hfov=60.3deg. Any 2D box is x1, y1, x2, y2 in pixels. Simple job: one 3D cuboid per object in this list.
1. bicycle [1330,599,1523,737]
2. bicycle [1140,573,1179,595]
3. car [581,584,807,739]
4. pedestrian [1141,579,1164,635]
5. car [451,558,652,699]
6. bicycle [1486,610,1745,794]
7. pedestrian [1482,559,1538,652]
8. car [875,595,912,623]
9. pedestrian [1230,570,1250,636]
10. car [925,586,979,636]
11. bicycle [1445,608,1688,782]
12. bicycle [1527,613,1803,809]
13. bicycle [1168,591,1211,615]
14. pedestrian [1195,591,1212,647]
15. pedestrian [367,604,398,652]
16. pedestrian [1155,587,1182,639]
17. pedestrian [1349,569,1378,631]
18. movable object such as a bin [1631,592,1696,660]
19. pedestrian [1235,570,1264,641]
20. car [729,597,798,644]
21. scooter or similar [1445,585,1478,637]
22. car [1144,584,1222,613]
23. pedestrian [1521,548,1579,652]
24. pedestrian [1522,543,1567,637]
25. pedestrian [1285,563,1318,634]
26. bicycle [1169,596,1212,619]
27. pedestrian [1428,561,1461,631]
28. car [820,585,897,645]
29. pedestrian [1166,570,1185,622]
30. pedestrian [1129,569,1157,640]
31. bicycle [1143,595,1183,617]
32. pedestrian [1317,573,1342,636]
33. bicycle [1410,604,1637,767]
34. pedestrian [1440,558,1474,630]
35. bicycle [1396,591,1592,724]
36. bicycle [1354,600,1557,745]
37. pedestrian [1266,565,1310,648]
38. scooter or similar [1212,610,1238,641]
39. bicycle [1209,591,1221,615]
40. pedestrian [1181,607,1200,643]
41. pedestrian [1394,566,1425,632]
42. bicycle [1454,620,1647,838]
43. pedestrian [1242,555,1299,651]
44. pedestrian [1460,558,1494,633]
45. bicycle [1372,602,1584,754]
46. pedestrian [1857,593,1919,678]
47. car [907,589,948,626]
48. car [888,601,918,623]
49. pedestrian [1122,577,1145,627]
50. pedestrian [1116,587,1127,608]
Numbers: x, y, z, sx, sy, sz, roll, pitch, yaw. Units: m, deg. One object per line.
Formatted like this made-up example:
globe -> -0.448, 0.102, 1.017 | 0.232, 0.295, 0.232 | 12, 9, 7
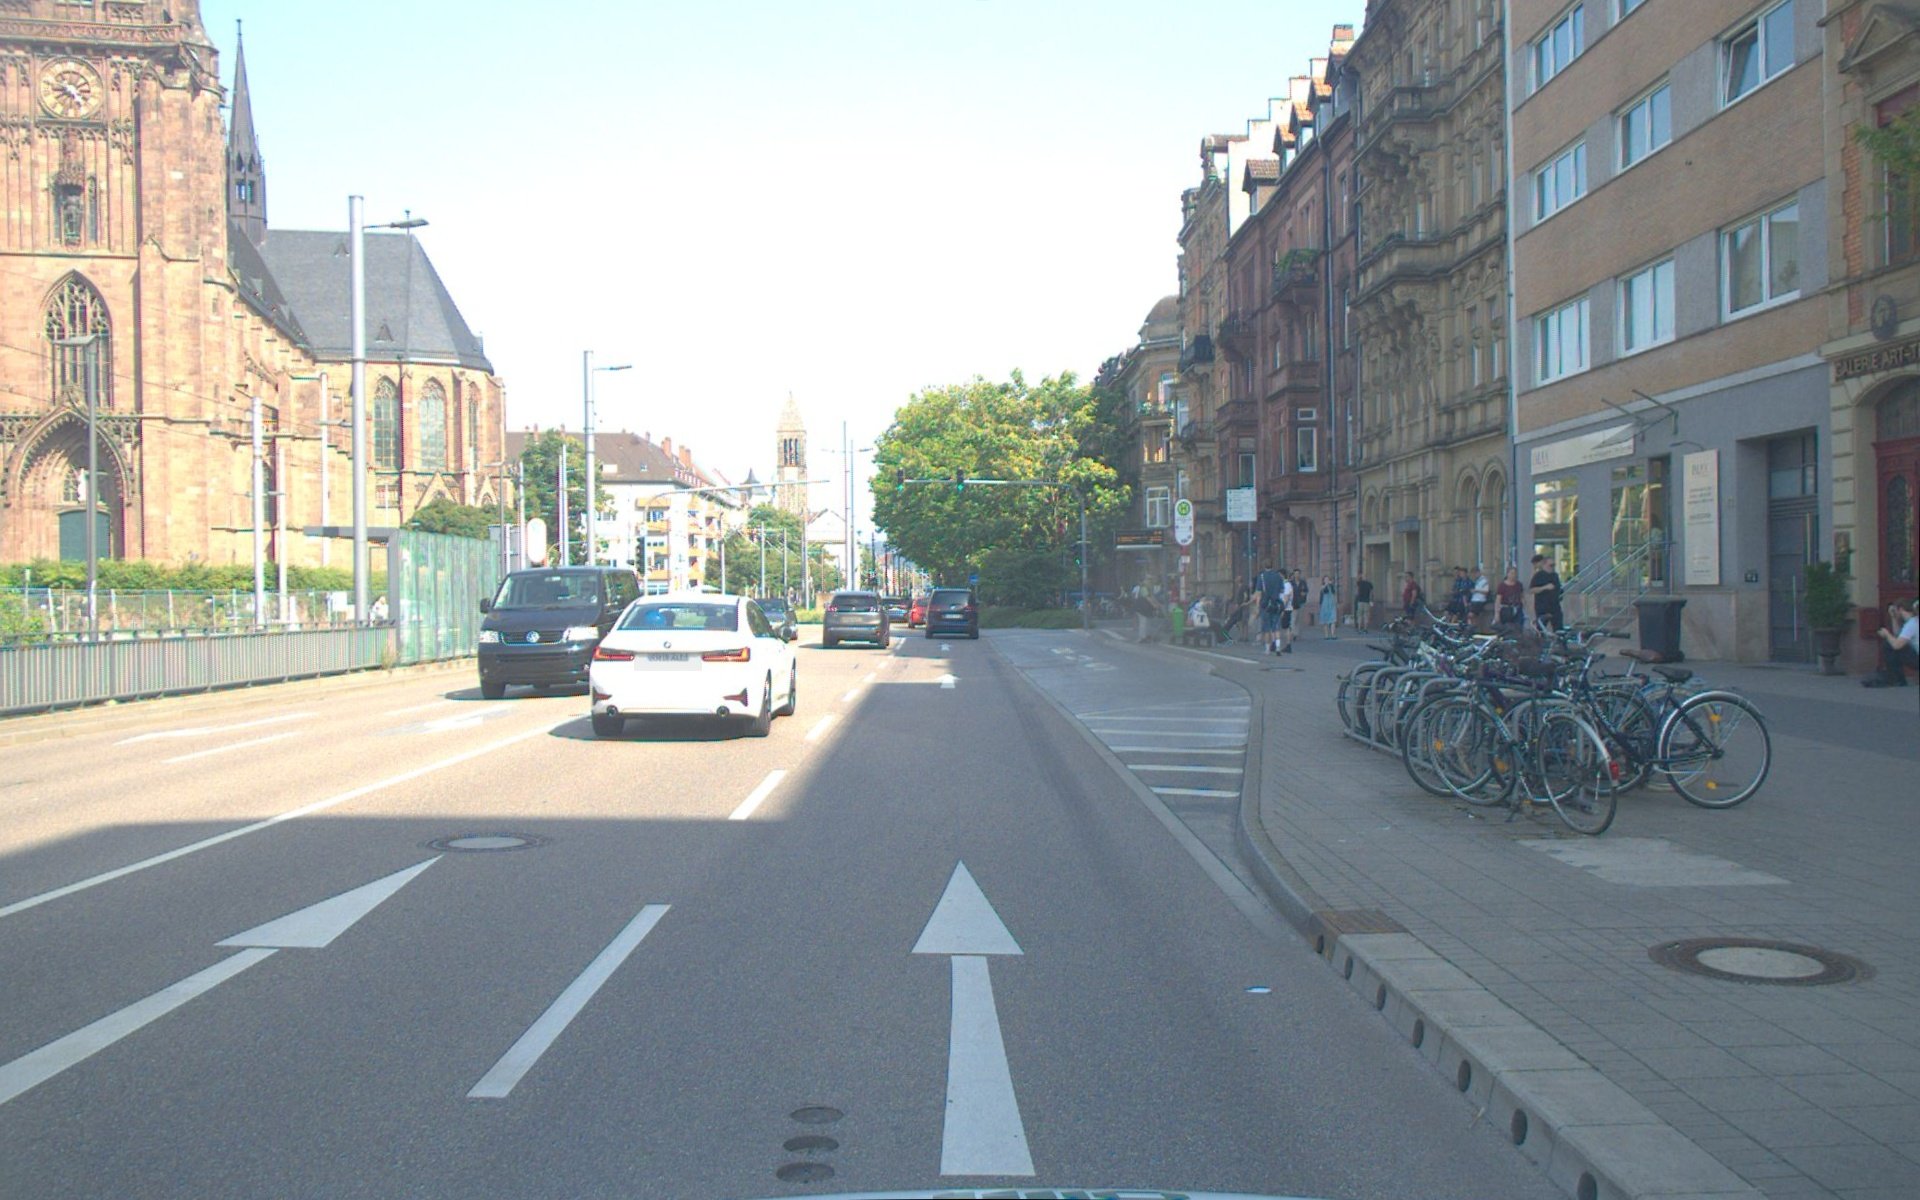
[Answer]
bicycle -> 4.140, 0.595, 14.694 | 1.601, 1.168, 0.385 | -1, 0, -6
bicycle -> 10.115, -0.809, 83.731 | 1.891, 1.066, 0.526 | -1, 0, -6
car -> -2.785, 0.575, 18.351 | 1.772, 1.452, 4.774 | 1, 1, -1
pedestrian -> 5.756, 0.210, 49.458 | 0.517, 1.640, 0.702 | -1, 0, -4
car -> -6.262, 0.391, 25.947 | 1.953, 1.937, 4.715 | -2, 0, -1
bicycle -> 4.405, 0.674, 11.135 | 1.601, 1.168, 0.385 | -1, 0, -6
pedestrian -> 9.836, 0.098, 29.606 | 0.705, 1.638, 0.856 | -1, 0, 0
car -> -3.602, 0.483, 90.251 | 1.826, 1.449, 4.357 | 0, 0, 0
pedestrian -> 7.623, 0.083, 45.063 | 0.334, 1.763, 0.805 | -1, 0, -4
car -> -0.286, 0.352, 57.583 | 1.794, 1.649, 4.357 | 0, 0, 0
bicycle -> 4.319, 0.662, 11.796 | 1.601, 1.168, 0.385 | -1, 0, -6
bicycle -> 4.456, 0.687, 10.471 | 1.601, 1.168, 0.385 | -1, 0, -6
bicycle -> 10.620, 0.122, 76.414 | 1.891, 1.066, 0.499 | -1, 0, -6
pedestrian -> 5.736, 0.448, 38.964 | 0.270, 1.296, 0.447 | -1, 0, -7
pedestrian -> -21.069, 1.028, 60.371 | 0.898, 1.709, 0.602 | -1, 0, -1
pedestrian -> 5.296, 0.337, 41.979 | 0.554, 1.300, 0.596 | -1, 0, -4
pedestrian -> 11.556, -0.015, 47.378 | 0.616, 1.749, 0.691 | -1, 0, -1
movable object such as a bin -> 11.696, 0.425, 27.515 | 0.725, 1.099, 0.667 | -1, 0, -17
pedestrian -> 7.326, 0.138, 41.882 | 0.553, 1.759, 0.617 | -1, 0, -4
car -> -6.226, 0.616, 52.895 | 1.678, 1.354, 4.520 | -2, 0, -1
scooter or similar -> 11.572, 0.242, 38.194 | 0.353, 1.183, 1.152 | -1, 0, -3
car -> 12.892, -0.101, 95.800 | 4.098, 1.590, 1.998 | -1, 0, -5
pedestrian -> 10.538, -0.005, 29.580 | 0.705, 1.818, 0.856 | -1, 0, 0
pedestrian -> 11.755, -0.196, 33.260 | 0.591, 1.863, 0.742 | -1, 0, -4
pedestrian -> 8.981, -0.042, 43.519 | 0.604, 1.835, 1.071 | -1, 0, 1
bicycle -> 10.742, 0.350, 77.164 | 1.891, 1.066, 0.499 | -1, 0, -6
pedestrian -> 12.034, -0.109, 41.062 | 0.591, 1.721, 0.586 | -1, 0, -4
car -> -2.884, 0.402, 47.842 | 1.953, 1.649, 4.357 | 0, 0, 0
pedestrian -> 7.288, -0.127, 55.972 | 0.471, 1.731, 0.702 | -1, 0, -4
pedestrian -> 4.638, 0.107, 42.018 | 0.553, 1.759, 0.745 | -1, 0, -4
bicycle -> 10.037, 0.299, 81.749 | 1.891, 1.066, 0.526 | -1, 0, -6
pedestrian -> 9.768, 0.106, 43.734 | 0.476, 1.638, 0.813 | -1, 0, 1
bicycle -> 4.265, 0.635, 12.542 | 1.601, 1.168, 0.385 | -1, 0, -6
pedestrian -> 12.128, -0.149, 40.374 | 0.591, 1.721, 0.586 | -1, 0, -4
bicycle -> 4.919, 0.520, 15.296 | 1.599, 1.168, 0.602 | -1, 0, 1
bicycle -> 4.184, 0.604, 14.000 | 1.601, 1.168, 0.385 | -1, 0, -6
pedestrian -> 7.111, 0.135, 35.893 | 0.734, 1.759, 0.800 | -1, 0, -4
scooter or similar -> 6.703, 0.649, 41.847 | 0.553, 0.754, 0.514 | -1, 0, -4
bicycle -> 11.563, 0.141, 75.017 | 0.408, 1.066, 1.671 | -1, 0, 5
pedestrian -> 5.585, 0.602, 40.090 | 0.297, 0.834, 0.603 | -1, 0, -8
pedestrian -> 11.698, -0.026, 43.085 | 0.591, 1.683, 0.586 | -1, 0, -4
bicycle -> 3.507, 0.721, 9.955 | 0.399, 1.168, 1.654 | -1, 0, -6
pedestrian -> 6.162, 0.046, 32.845 | 0.907, 1.863, 0.800 | -1, 0, -4
pedestrian -> 12.286, -0.101, 39.314 | 0.591, 1.761, 0.510 | -1, 0, -4
bicycle -> 4.183, 0.620, 13.383 | 1.601, 1.168, 0.385 | -1, 0, -6
pedestrian -> 11.224, 0.421, 19.944 | 0.598, 0.999, 0.636 | -1, 0, 19
car -> -1.473, 0.309, 76.336 | 1.794, 1.649, 4.357 | 0, 0, 0
car -> -3.845, 0.799, 111.983 | 1.826, 1.449, 4.357 | 0, 0, 0
pedestrian -> 5.930, 0.077, 56.479 | 0.676, 1.693, 0.619 | -1, 0, 0
pedestrian -> 9.698, -0.152, 99.273 | 0.585, 1.270, 0.506 | -1, 0, -1
